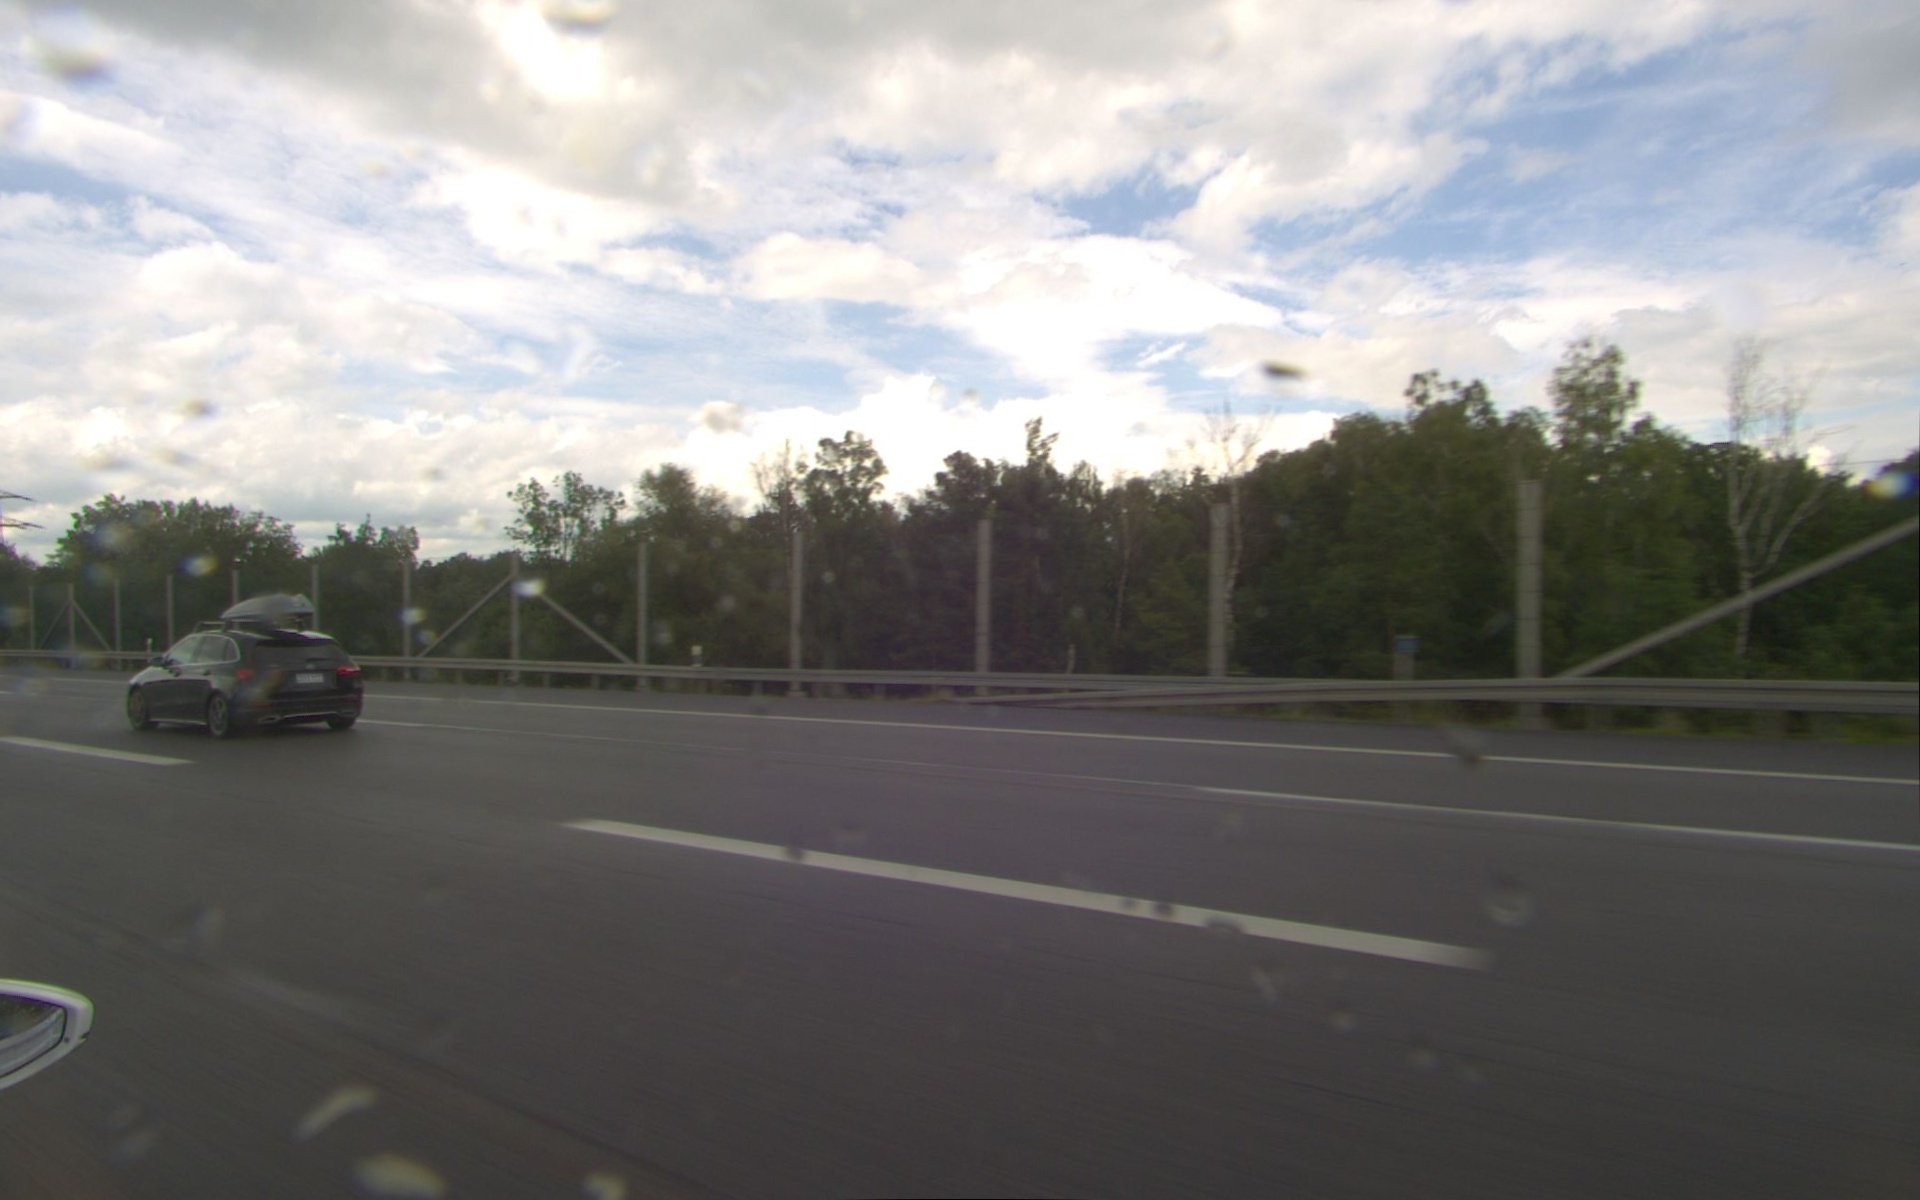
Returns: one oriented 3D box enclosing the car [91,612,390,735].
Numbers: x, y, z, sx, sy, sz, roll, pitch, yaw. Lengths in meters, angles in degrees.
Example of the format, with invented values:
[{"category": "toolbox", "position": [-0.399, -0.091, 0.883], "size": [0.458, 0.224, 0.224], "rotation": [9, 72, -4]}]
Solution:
[{"category": "car", "position": [-11.246, 1.008, 15.553], "size": [4.993, 1.626, 2.101], "rotation": [0, -1, 33]}]
